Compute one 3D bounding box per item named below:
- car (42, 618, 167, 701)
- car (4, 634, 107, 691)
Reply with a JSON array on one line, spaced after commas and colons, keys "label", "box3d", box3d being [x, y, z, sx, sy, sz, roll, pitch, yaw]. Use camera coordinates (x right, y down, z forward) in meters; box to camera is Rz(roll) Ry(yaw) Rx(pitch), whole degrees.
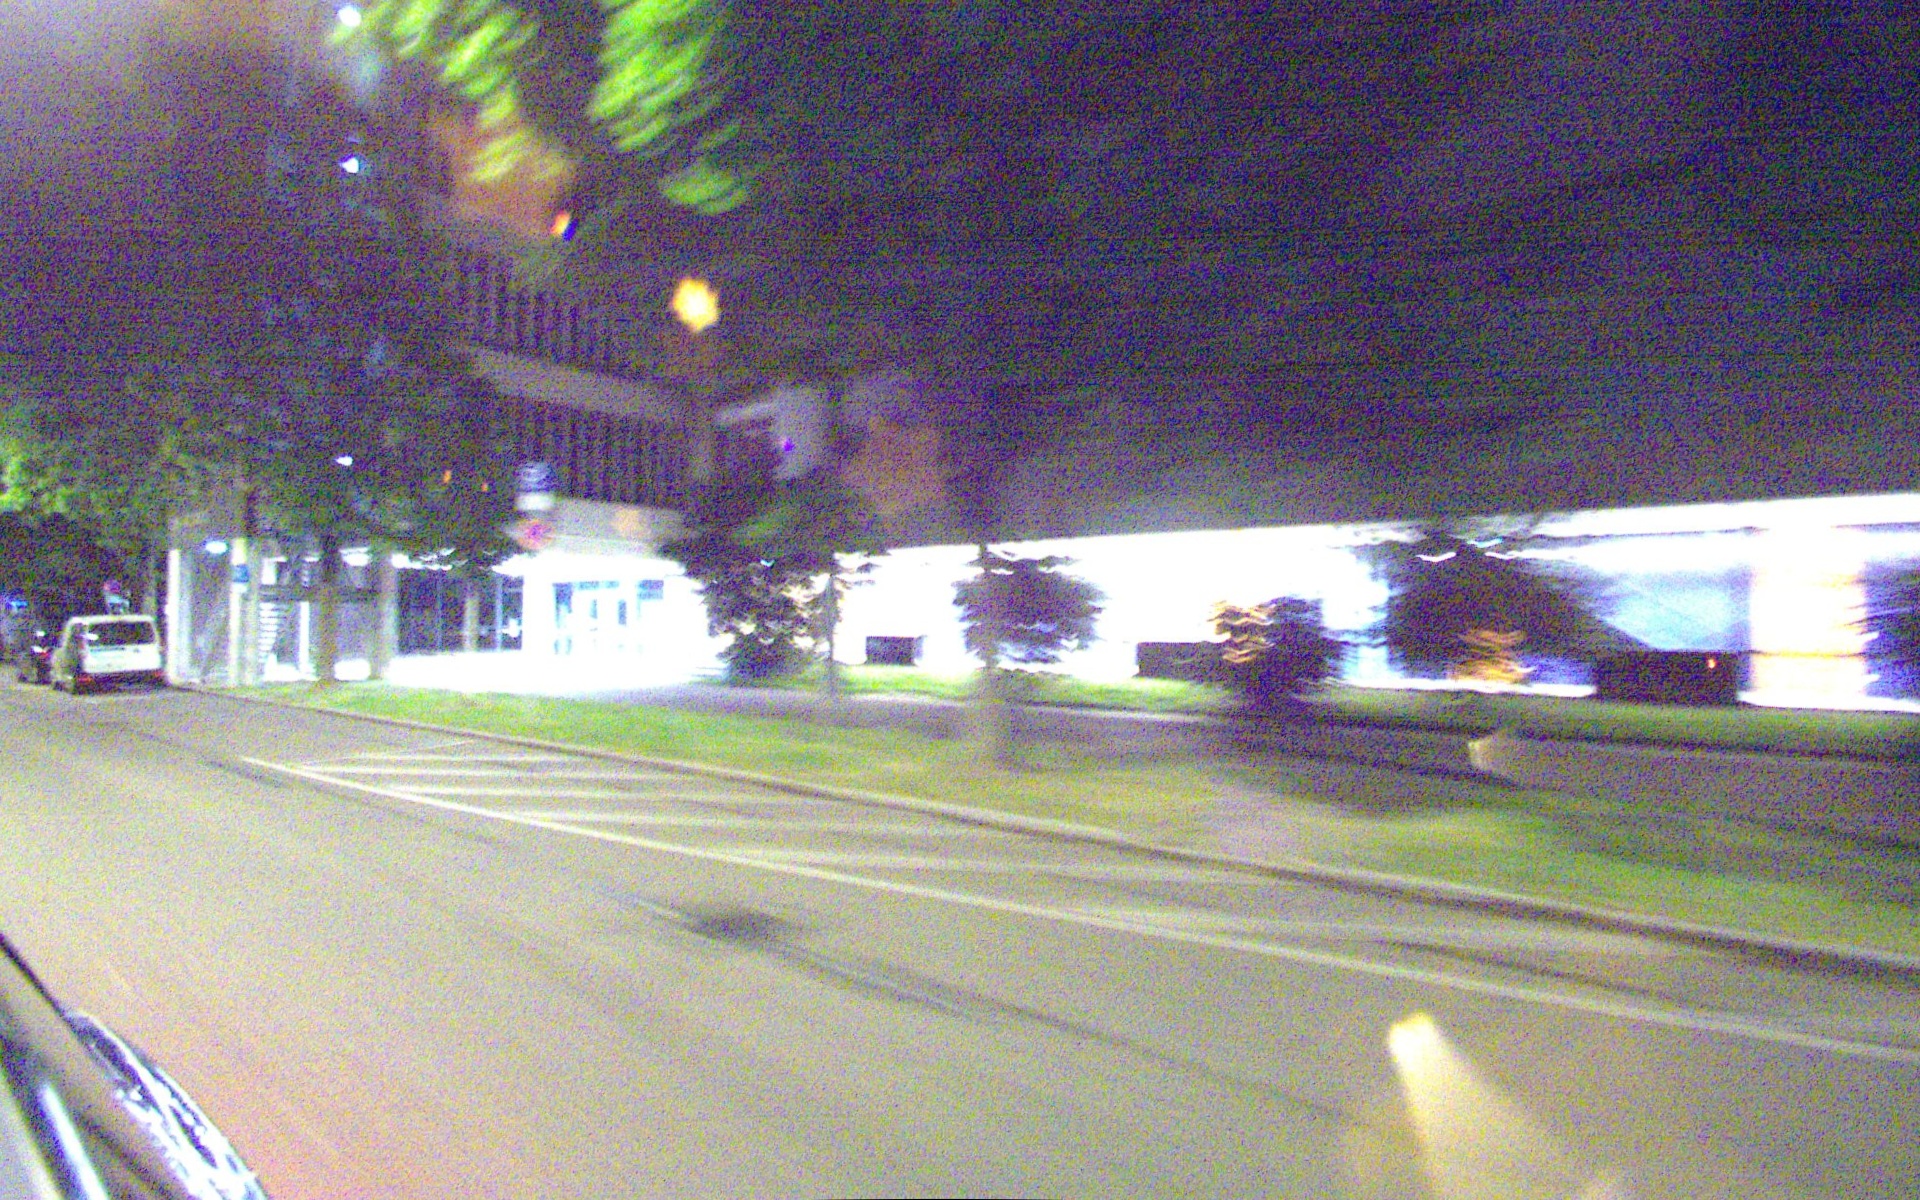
[{"label": "car", "box3d": [-21.278, 1.419, 25.118, 4.209, 1.825, 1.803, -2, 0, 42]}, {"label": "car", "box3d": [-25.619, 1.708, 28.635, 3.826, 1.444, 1.683, -2, 0, 41]}]
